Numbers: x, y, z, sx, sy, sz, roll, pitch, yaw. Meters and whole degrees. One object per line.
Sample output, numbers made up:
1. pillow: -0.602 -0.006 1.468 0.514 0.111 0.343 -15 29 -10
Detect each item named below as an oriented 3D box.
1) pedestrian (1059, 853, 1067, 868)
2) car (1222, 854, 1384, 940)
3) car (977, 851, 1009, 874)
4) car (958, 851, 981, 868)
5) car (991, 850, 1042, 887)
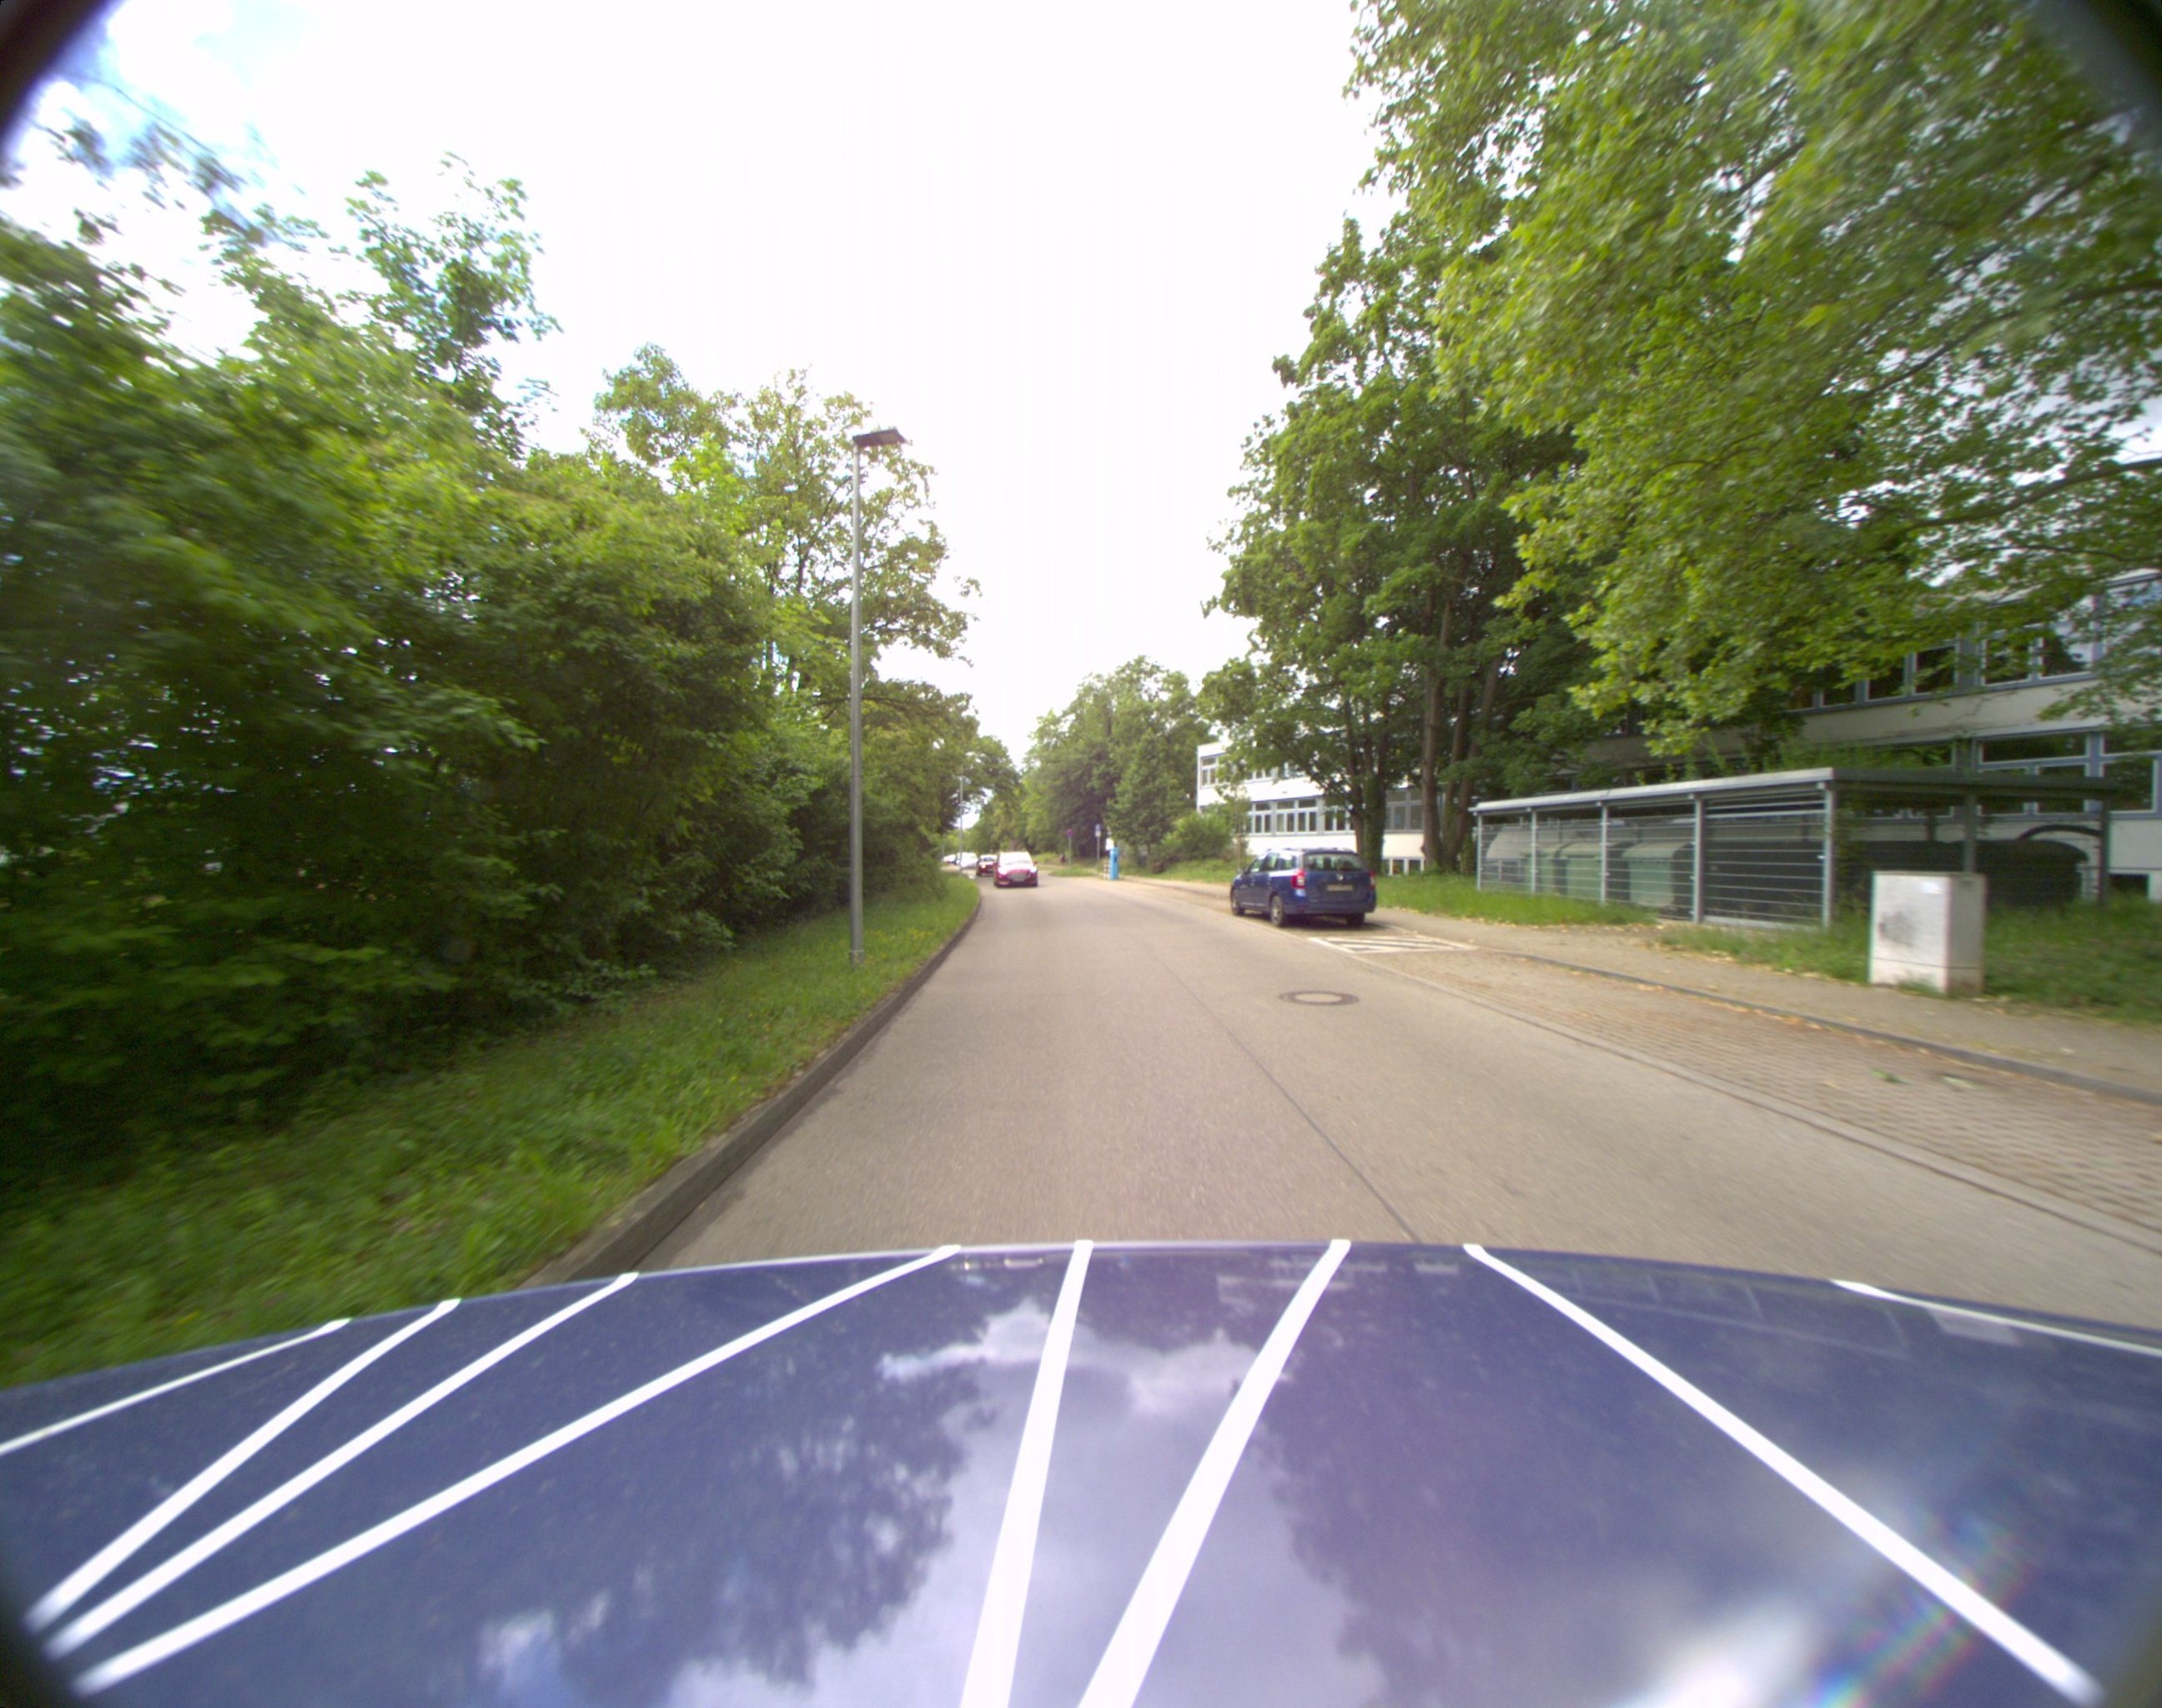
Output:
1. pedestrian: -2.103 0.728 86.692 0.762 1.653 0.808 1 0 -13
2. car: 4.353 0.756 15.683 1.685 1.503 4.429 0 0 -6
3. car: -6.243 0.588 53.826 2.000 1.564 3.996 1 0 -10
4. car: -10.764 0.539 73.168 1.922 1.587 3.894 1 0 -12
5. car: -3.119 0.653 35.968 1.863 1.608 4.471 -2 0 -12
